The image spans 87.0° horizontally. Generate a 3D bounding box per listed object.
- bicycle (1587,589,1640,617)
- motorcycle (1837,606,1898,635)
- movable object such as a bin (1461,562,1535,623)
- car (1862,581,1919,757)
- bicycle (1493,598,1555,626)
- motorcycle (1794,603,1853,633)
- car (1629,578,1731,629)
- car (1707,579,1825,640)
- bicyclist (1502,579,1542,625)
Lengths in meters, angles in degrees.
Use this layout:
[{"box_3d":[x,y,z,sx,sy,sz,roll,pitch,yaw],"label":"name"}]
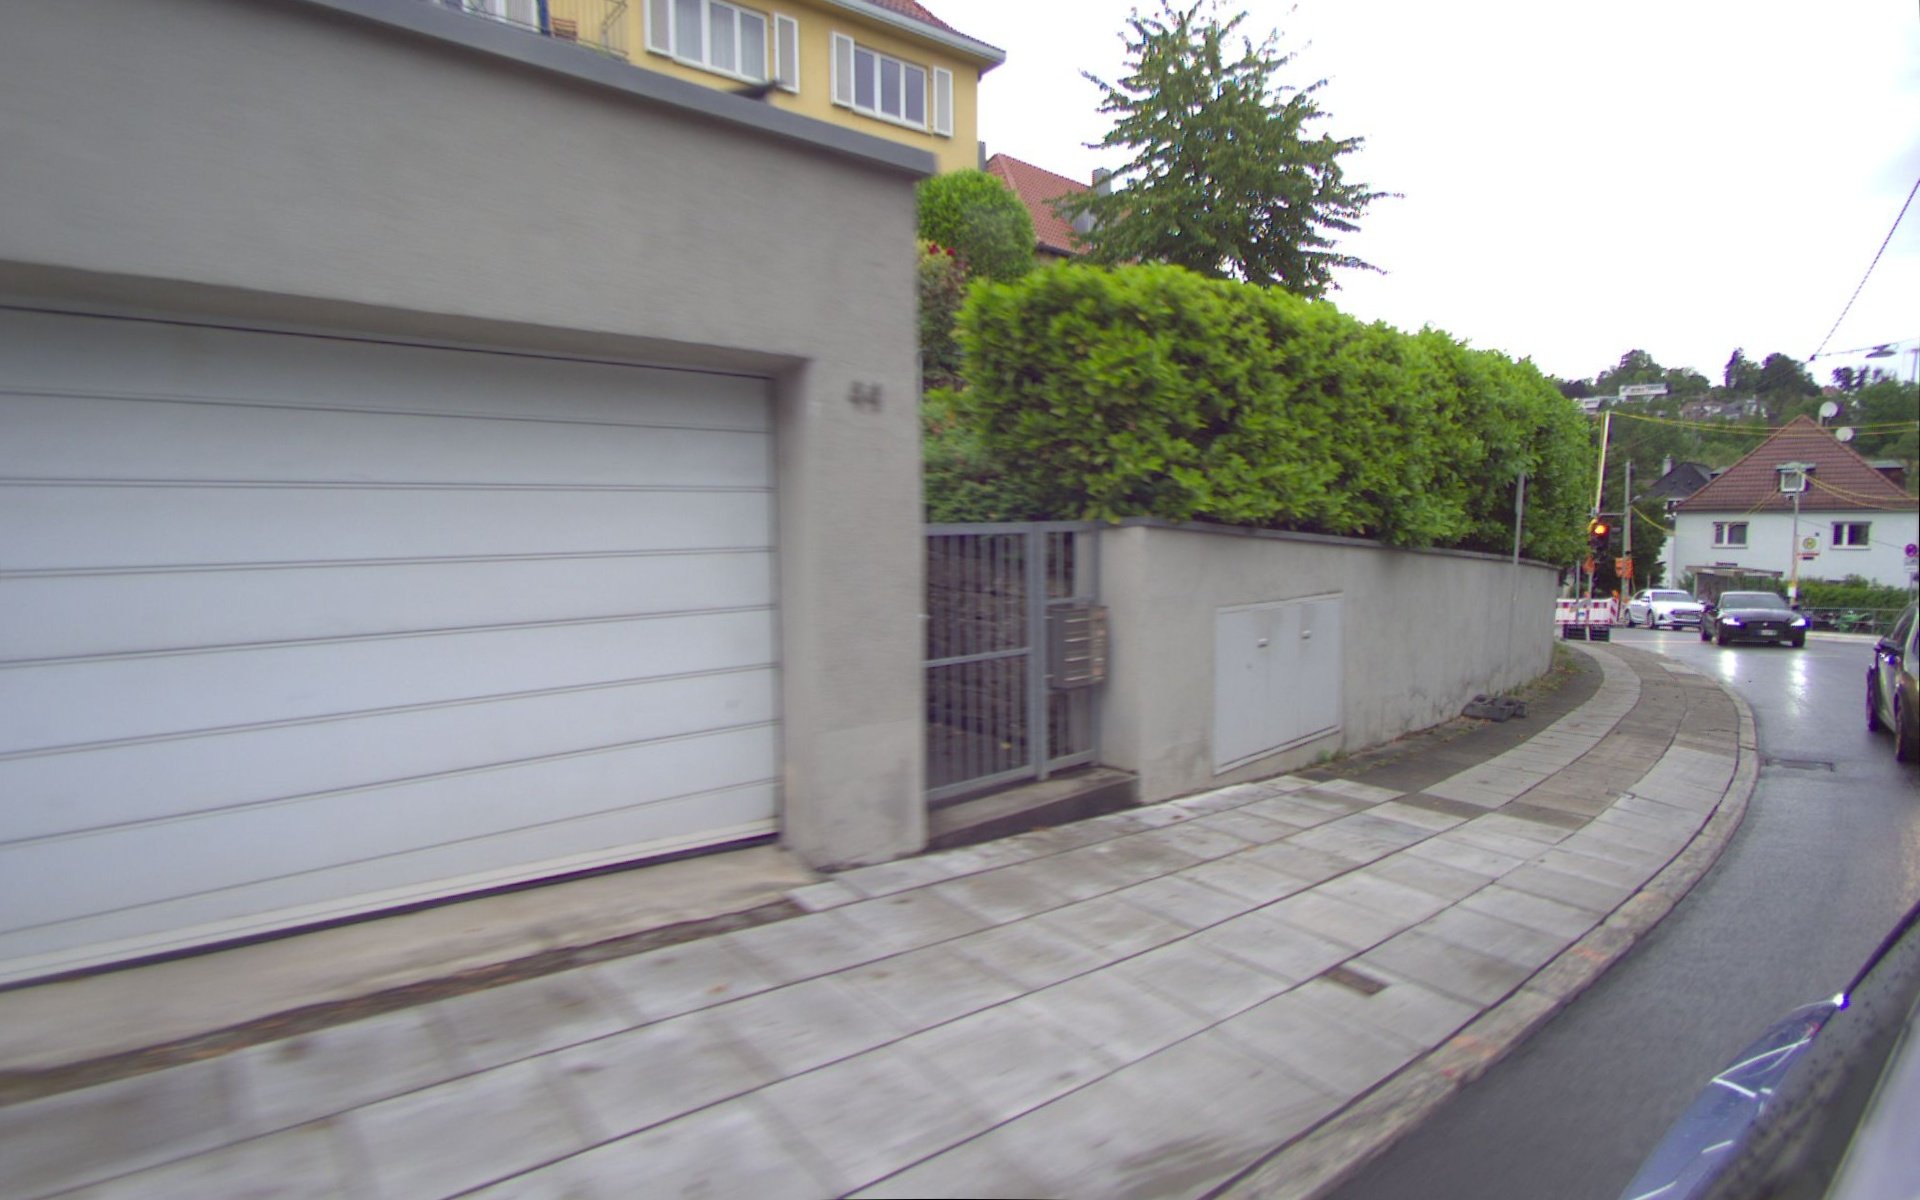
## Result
[{"box_3d":[35.873,0.145,55.571,2.200,1.378,0.807,3,2,10],"label":"bicycle"},{"box_3d":[32.101,0.703,35.836,0.658,0.945,2.003,3,1,11],"label":"motorcycle"},{"box_3d":[27.882,-0.485,52.674,2.063,2.872,5.653,1,3,15],"label":"movable object such as a bin"},{"box_3d":[10.241,0.603,9.939,1.667,1.484,4.652,4,3,38],"label":"car"},{"box_3d":[21.848,0.452,39.262,1.852,0.993,0.931,1,1,7],"label":"bicycle"},{"box_3d":[32.579,0.672,38.220,0.658,1.049,2.145,3,1,11],"label":"motorcycle"},{"box_3d":[28.279,0.089,39.932,1.976,1.729,4.547,3,3,19],"label":"car"},{"box_3d":[21.613,0.185,27.294,1.829,1.420,4.029,3,3,30],"label":"car"},{"box_3d":[21.796,0.074,39.256,1.058,1.750,0.931,1,1,7],"label":"bicyclist"}]
